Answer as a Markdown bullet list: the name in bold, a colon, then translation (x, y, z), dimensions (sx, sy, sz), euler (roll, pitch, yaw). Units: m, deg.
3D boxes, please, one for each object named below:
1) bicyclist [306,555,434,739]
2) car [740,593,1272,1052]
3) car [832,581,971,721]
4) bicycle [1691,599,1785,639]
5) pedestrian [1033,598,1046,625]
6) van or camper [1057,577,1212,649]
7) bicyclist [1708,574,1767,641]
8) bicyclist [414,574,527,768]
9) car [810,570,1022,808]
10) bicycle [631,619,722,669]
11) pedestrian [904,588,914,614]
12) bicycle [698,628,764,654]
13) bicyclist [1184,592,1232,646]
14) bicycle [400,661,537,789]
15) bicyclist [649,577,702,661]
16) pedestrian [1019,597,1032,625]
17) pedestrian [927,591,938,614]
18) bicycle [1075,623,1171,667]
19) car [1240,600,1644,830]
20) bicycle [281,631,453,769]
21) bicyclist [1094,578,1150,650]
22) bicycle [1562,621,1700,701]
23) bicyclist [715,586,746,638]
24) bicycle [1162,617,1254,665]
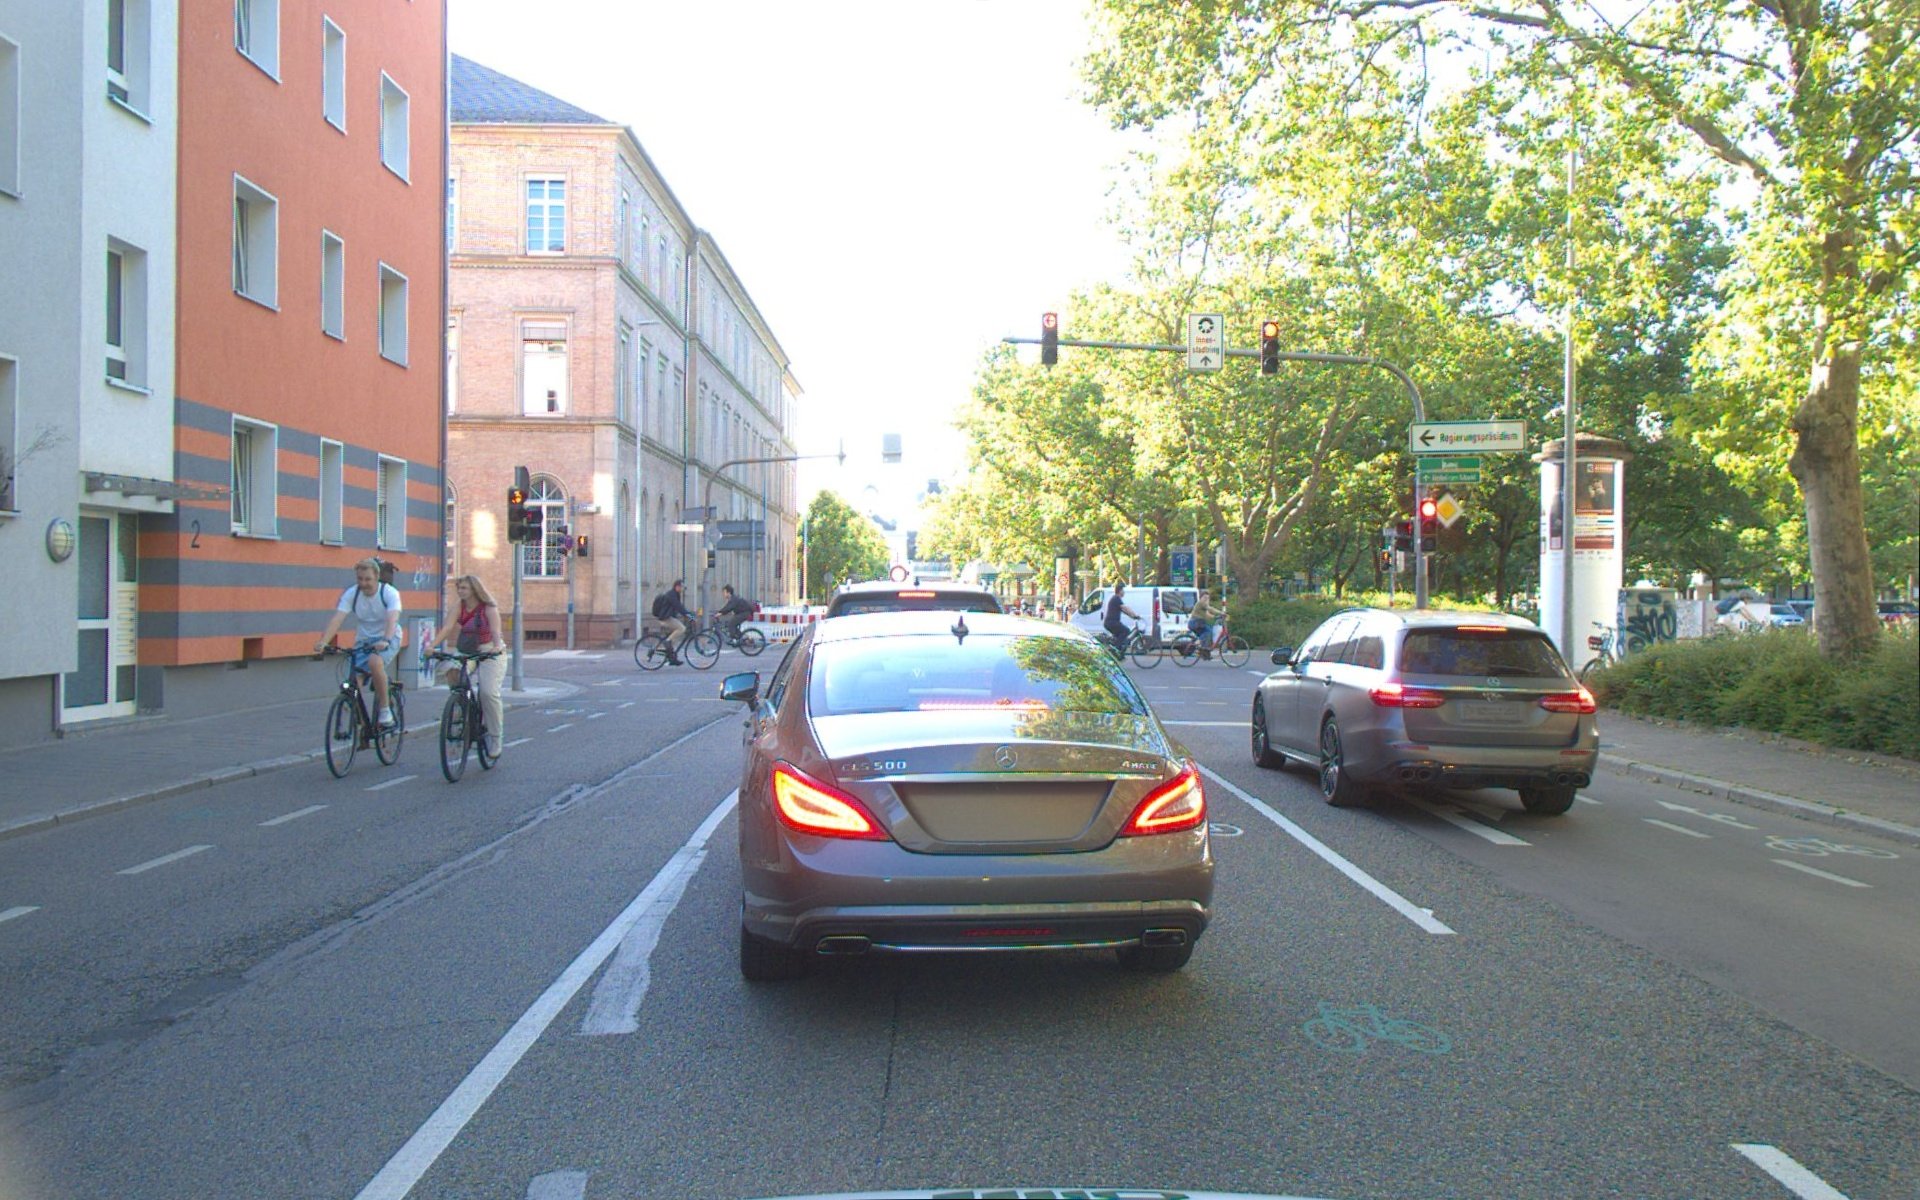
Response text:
- **bicyclist**: translation (-5.227, 0.400, 14.700), dimensions (0.825, 1.582, 0.839), euler (0, 0, 1)
- **car**: translation (-0.112, 0.724, 7.642), dimensions (1.769, 1.482, 4.343), euler (1, 0, -8)
- **car**: translation (-0.779, 0.646, 23.224), dimensions (1.783, 1.793, 3.999), euler (0, 0, -1)
- **bicycle**: translation (18.130, 0.432, 38.559), dimensions (1.853, 0.898, 0.726), euler (1, 0, 3)
- **pedestrian**: translation (4.343, 0.644, 90.599), dimensions (0.635, 1.458, 0.659), euler (0, 0, -1)
- **van or camper**: translation (5.038, 0.343, 48.225), dimensions (1.978, 1.975, 4.534), euler (1, 0, -37)
- **bicyclist**: translation (18.123, 0.179, 38.554), dimensions (1.052, 1.546, 0.717), euler (0, 0, 4)
- **bicyclist**: translation (-4.179, 0.587, 14.175), dimensions (0.671, 1.605, 0.982), euler (0, 0, -1)
- **car**: translation (-0.401, 0.631, 13.709), dimensions (1.487, 1.675, 3.878), euler (1, 0, -3)
- **bicycle**: translation (-5.727, 0.890, 33.455), dimensions (1.760, 0.963, 0.613), euler (1, 0, -7)
- **pedestrian**: translation (-3.879, 0.083, 125.464), dimensions (0.706, 1.935, 0.704), euler (1, 0, -1)
- **bicycle**: translation (-5.724, 1.021, 41.344), dimensions (1.554, 0.646, 0.496), euler (0, 0, 3)
- **bicyclist**: translation (5.493, 0.423, 36.687), dimensions (0.971, 1.174, 0.620), euler (0, 0, 0)
- **bicycle**: translation (-4.161, 1.030, 14.134), dimensions (0.679, 0.945, 1.862), euler (0, 0, -3)
- **bicyclist**: translation (-5.751, 0.377, 33.461), dimensions (0.995, 1.671, 0.607), euler (1, 0, -7)
- **pedestrian**: translation (3.596, 0.606, 90.755), dimensions (0.635, 1.529, 0.637), euler (0, 0, -1)
- **pedestrian**: translation (-1.968, 0.176, 119.318), dimensions (0.785, 1.604, 0.844), euler (1, 0, -1)
- **bicycle**: translation (3.476, 0.956, 35.356), dimensions (1.946, 0.919, 0.733), euler (0, 0, -2)
- **car**: translation (3.700, 0.788, 13.657), dimensions (1.874, 1.490, 4.668), euler (2, 0, -1)
- **bicycle**: translation (-5.237, 0.851, 14.735), dimensions (0.845, 1.097, 1.836), euler (1, 0, 0)
- **bicyclist**: translation (3.458, 0.287, 35.339), dimensions (1.094, 1.516, 0.711), euler (0, 0, -2)
- **bicycle**: translation (9.605, 0.867, 23.692), dimensions (1.766, 1.116, 0.510), euler (0, 0, 2)
- **bicyclist**: translation (-5.747, 0.300, 41.353), dimensions (0.689, 1.282, 0.458), euler (0, 0, 2)
- **bicycle**: translation (5.500, 0.905, 36.699), dimensions (1.940, 1.045, 0.651), euler (0, 0, 0)
